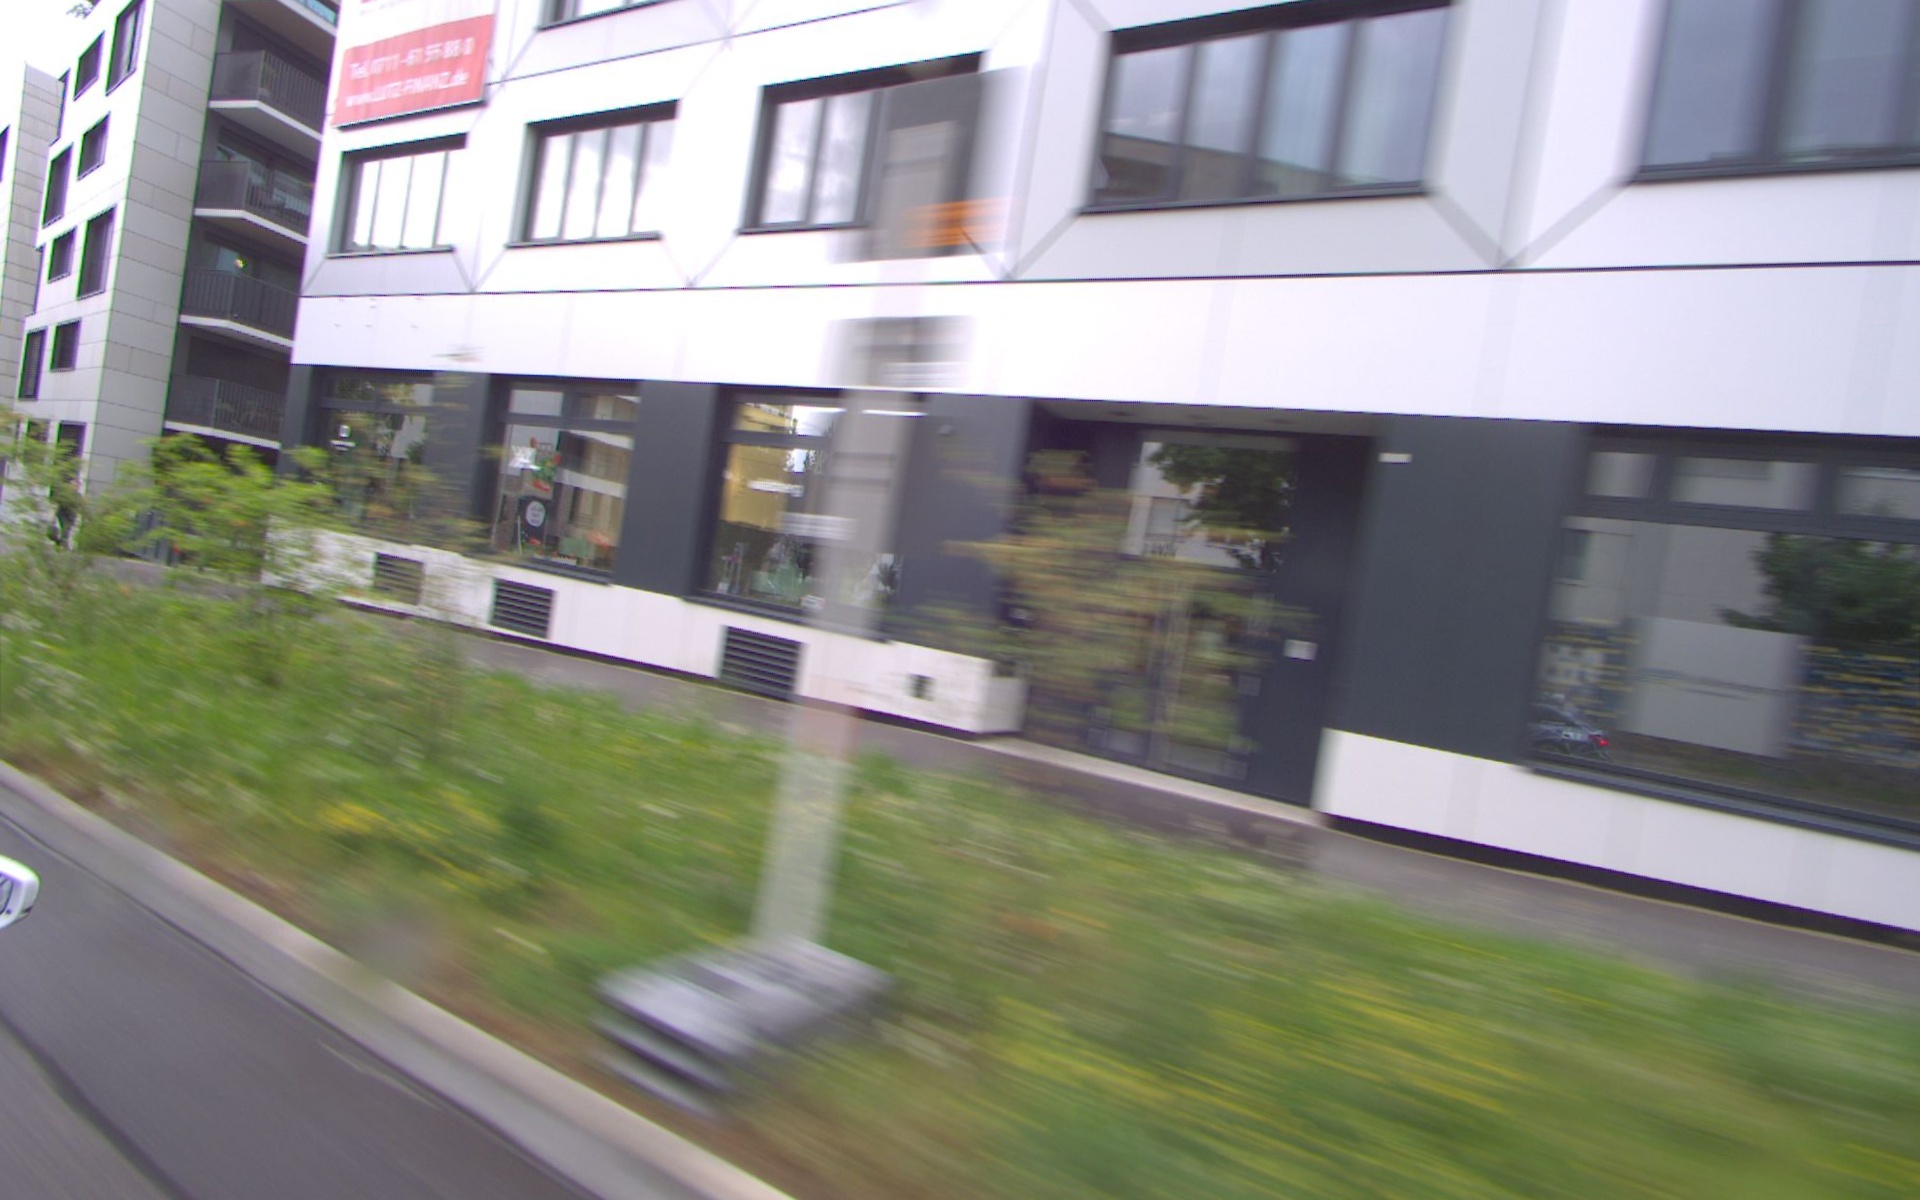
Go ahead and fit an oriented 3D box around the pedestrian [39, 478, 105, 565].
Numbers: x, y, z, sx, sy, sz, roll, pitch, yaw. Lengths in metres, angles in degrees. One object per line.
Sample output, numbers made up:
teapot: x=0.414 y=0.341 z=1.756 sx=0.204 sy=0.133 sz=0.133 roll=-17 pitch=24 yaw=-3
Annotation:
pedestrian: x=-20.154 y=-1.775 z=22.829 sx=0.766 sy=1.817 sz=0.823 roll=7 pitch=0 yaw=35
